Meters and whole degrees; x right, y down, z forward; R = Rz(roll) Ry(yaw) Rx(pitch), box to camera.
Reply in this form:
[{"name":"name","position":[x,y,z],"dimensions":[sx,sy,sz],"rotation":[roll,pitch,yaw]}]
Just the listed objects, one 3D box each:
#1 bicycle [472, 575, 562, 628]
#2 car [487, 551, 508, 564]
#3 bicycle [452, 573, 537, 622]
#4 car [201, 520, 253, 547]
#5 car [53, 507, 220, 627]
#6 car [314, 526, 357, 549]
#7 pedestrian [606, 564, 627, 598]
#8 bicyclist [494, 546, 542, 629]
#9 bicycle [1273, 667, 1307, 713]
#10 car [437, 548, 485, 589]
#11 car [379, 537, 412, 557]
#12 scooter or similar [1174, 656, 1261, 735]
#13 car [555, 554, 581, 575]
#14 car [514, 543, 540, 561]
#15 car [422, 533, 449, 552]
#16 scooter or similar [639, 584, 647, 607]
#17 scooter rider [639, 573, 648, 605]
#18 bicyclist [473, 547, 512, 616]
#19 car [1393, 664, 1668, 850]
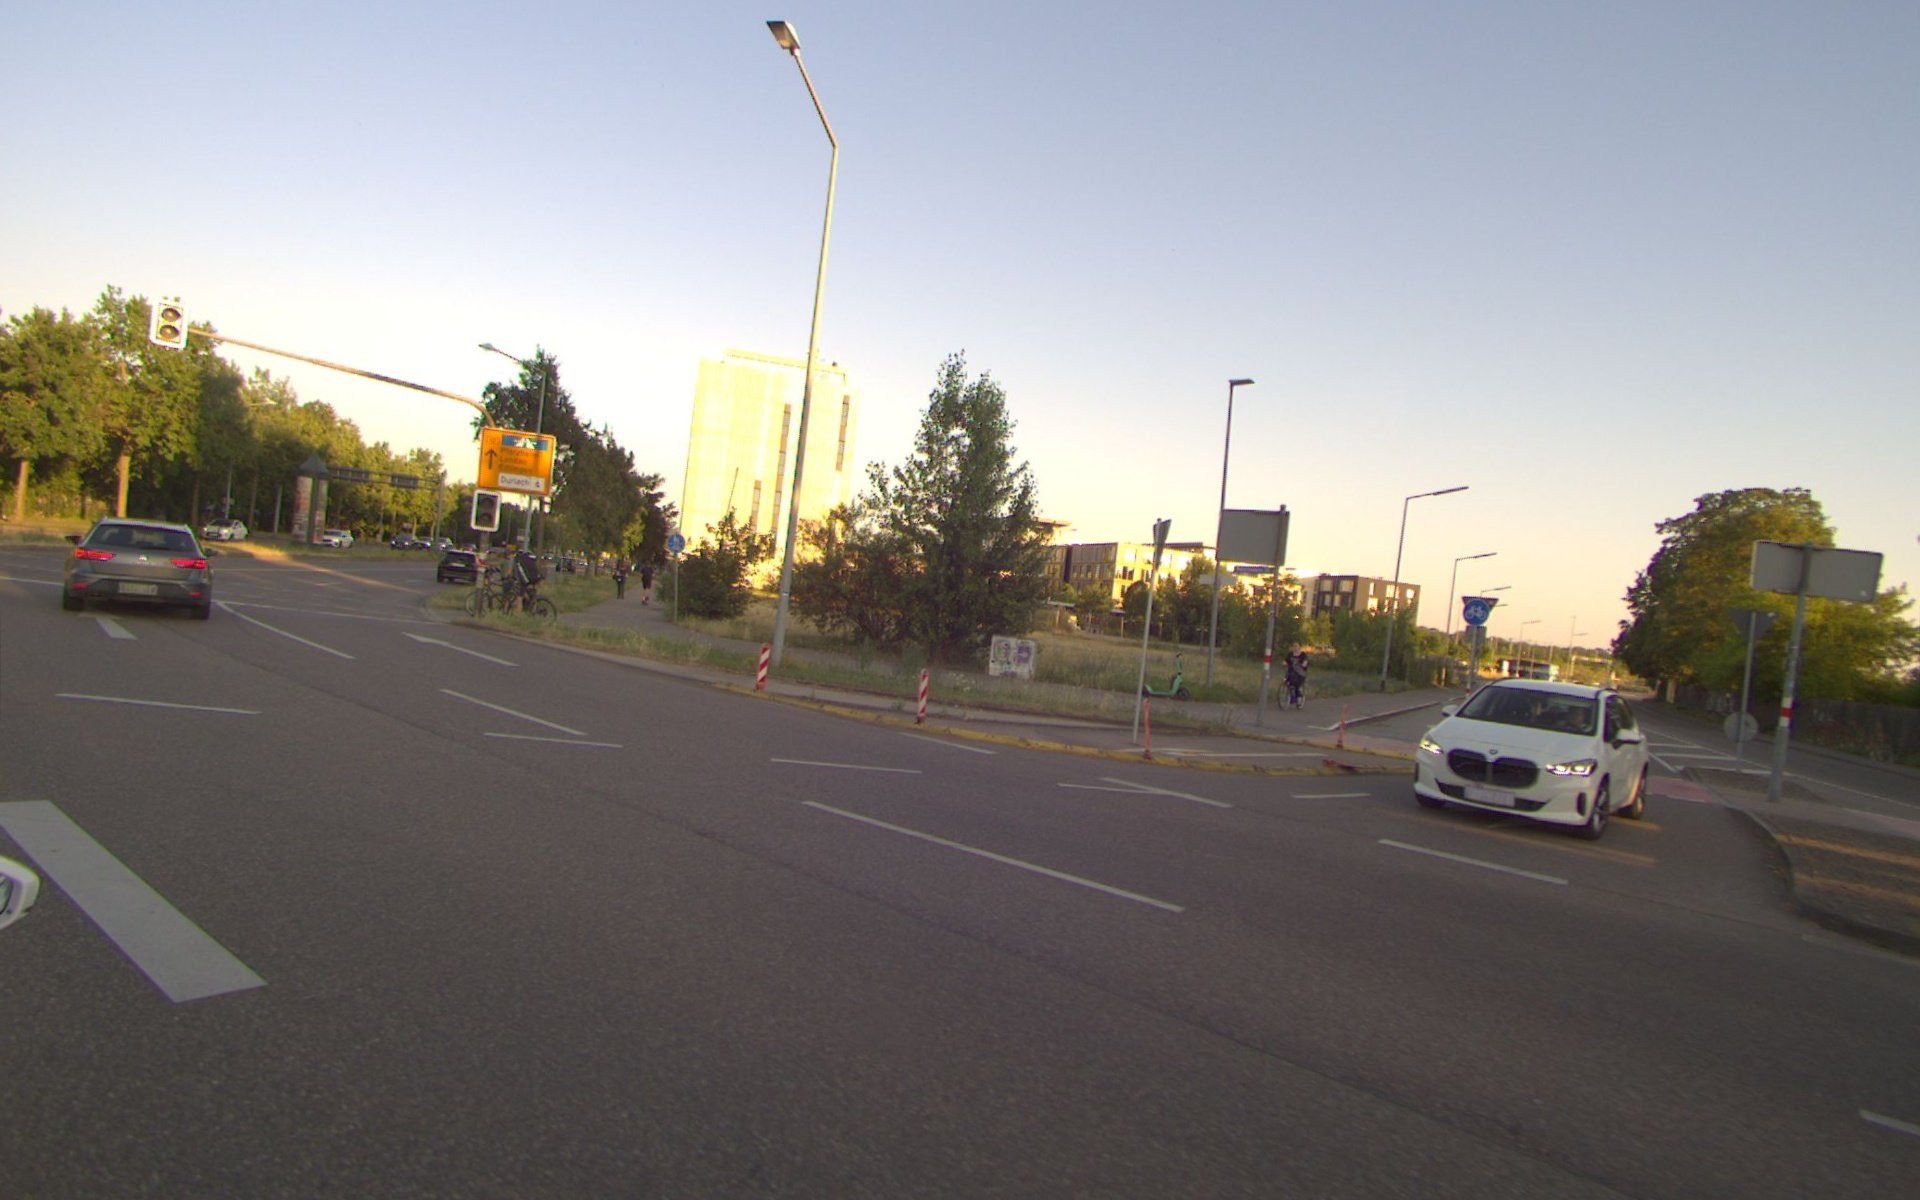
[{"name":"bicycle","position":[-10.739,0.043,24.464],"dimensions":[1.900,1.099,0.454],"rotation":[5,1,-20]},{"name":"car","position":[-67.310,-6.213,146.534],"dimensions":[1.817,1.478,4.568],"rotation":[7,-1,-15]},{"name":"bicycle","position":[-12.041,-0.061,26.060],"dimensions":[1.899,1.099,0.454],"rotation":[4,2,-20]},{"name":"car","position":[-49.076,-4.437,67.412],"dimensions":[1.529,1.461,3.477],"rotation":[6,0,-14]},{"name":"car","position":[-13.001,-0.573,15.795],"dimensions":[1.740,1.442,4.085],"rotation":[7,0,-42]},{"name":"car","position":[-48.524,-4.849,78.215],"dimensions":[1.702,1.467,4.531],"rotation":[6,0,-18]},{"name":"pedestrian","position":[-16.482,-0.913,48.278],"dimensions":[0.784,1.569,0.565],"rotation":[6,1,-17]},{"name":"bicyclist","position":[-10.722,-0.299,24.410],"dimensions":[0.896,1.922,0.638],"rotation":[4,2,-20]},{"name":"bicycle","position":[8.403,2.284,25.567],"dimensions":[0.276,1.102,1.367],"rotation":[7,0,37]},{"name":"car","position":[-23.236,-1.477,46.792],"dimensions":[1.797,1.544,4.105],"rotation":[7,0,-28]},{"name":"car","position":[-55.557,-5.181,99.143],"dimensions":[1.776,1.653,4.440],"rotation":[6,0,-17]},{"name":"scooter or similar","position":[4.693,1.724,18.332],"dimensions":[1.357,1.177,0.442],"rotation":[9,2,18]},{"name":"car","position":[-36.781,-3.328,94.486],"dimensions":[1.884,1.638,3.983],"rotation":[7,0,-18]},{"name":"car","position":[-44.257,-4.918,102.898],"dimensions":[1.971,1.489,3.983],"rotation":[7,0,-18]},{"name":"car","position":[-59.437,-6.545,114.045],"dimensions":[1.894,1.776,4.901],"rotation":[5,0,-19]},{"name":"scooter or similar","position":[-13.753,-0.204,43.667],"dimensions":[0.243,0.925,1.035],"rotation":[7,1,-18]},{"name":"scooter rider","position":[-13.730,-0.488,43.628],"dimensions":[0.261,1.356,0.405],"rotation":[6,1,-18]},{"name":"bicyclist","position":[-12.075,-0.478,26.013],"dimensions":[0.758,1.724,0.638],"rotation":[4,2,-20]},{"name":"car","position":[6.873,1.744,11.915],"dimensions":[1.865,1.577,4.075],"rotation":[7,0,42]}]
